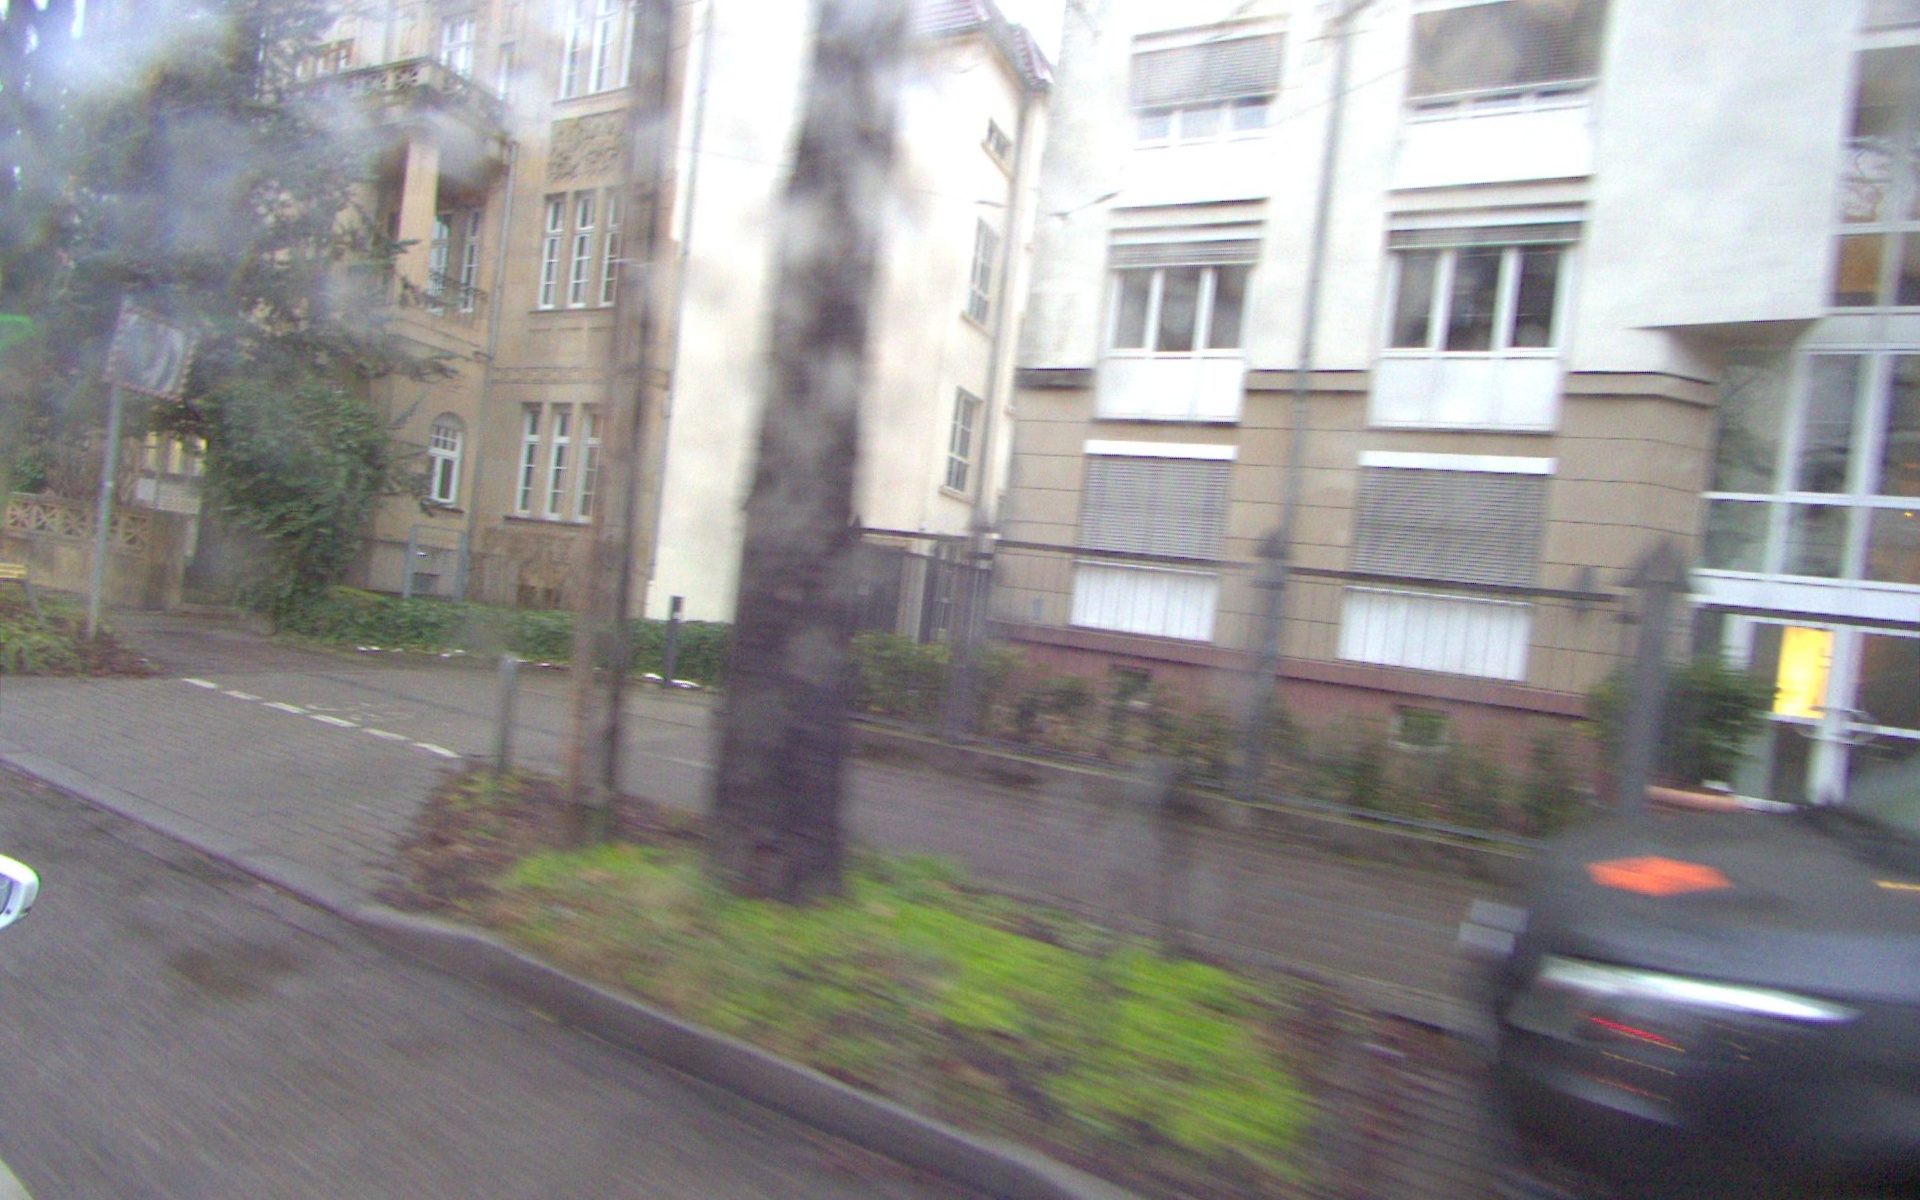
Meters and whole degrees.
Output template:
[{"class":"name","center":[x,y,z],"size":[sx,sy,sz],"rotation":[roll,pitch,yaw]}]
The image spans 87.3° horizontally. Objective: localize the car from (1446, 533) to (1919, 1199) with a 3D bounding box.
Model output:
[{"class":"car","center":[3.814,1.106,2.082],"size":[4.876,1.899,2.034],"rotation":[7,1,27]}]
